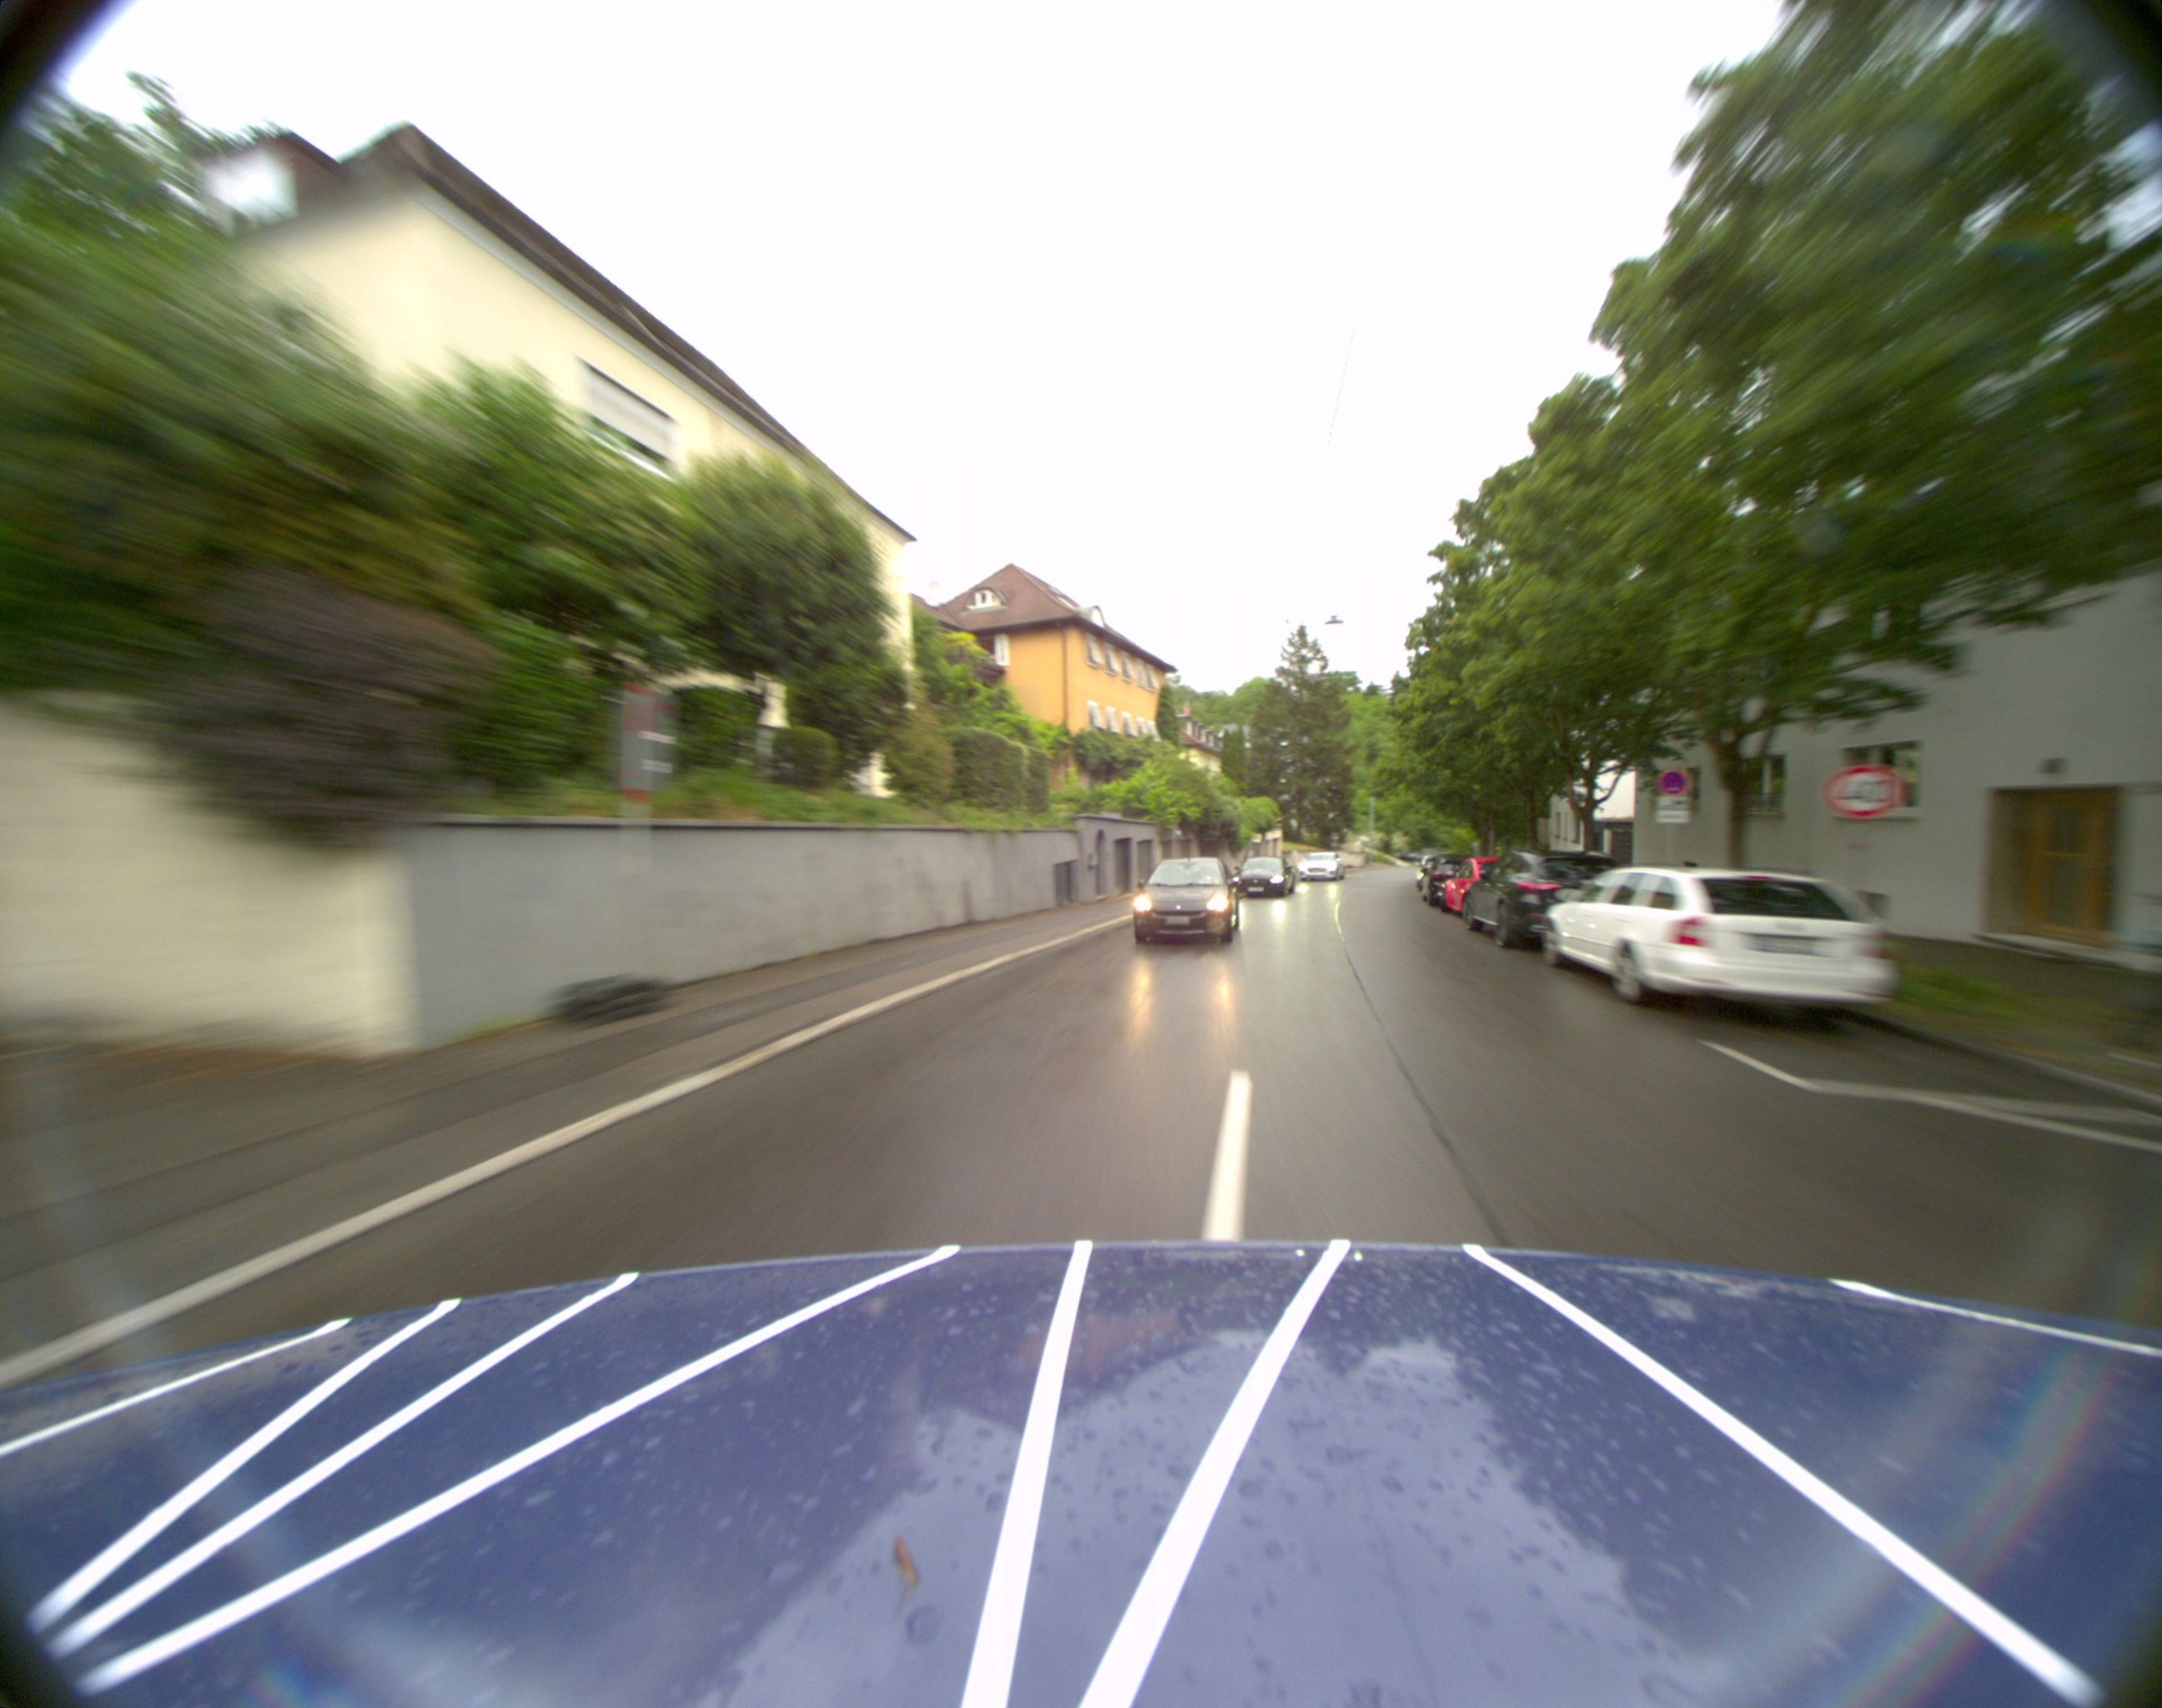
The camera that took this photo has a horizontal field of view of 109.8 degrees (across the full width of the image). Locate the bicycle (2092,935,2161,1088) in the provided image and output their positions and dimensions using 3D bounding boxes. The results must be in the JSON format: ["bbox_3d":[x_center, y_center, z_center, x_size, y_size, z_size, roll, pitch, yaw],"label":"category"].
[{"bbox_3d":[7.809,1.162,5.116,0.435,1.024,1.909,0,1,28],"label":"bicycle"}]

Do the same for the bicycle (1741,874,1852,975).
[{"bbox_3d":[10.106,0.938,10.809,0.619,1.244,1.909,0,1,26],"label":"bicycle"}]

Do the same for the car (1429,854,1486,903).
[{"bbox_3d":[13.427,0.817,27.244,1.556,1.502,3.389,4,3,23],"label":"car"}]

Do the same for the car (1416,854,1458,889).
[{"bbox_3d":[16.689,0.782,35.587,1.575,1.480,3.476,4,2,26],"label":"car"}]

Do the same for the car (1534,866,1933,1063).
[{"bbox_3d":[6.779,0.955,8.602,1.684,1.500,4.321,2,1,15],"label":"car"}]

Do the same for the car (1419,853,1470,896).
[{"bbox_3d":[15.108,0.774,31.629,1.665,1.480,4.482,4,3,25],"label":"car"}]

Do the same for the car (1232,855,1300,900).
[{"bbox_3d":[6.822,0.817,27.685,1.804,1.479,4.023,-2,-1,22],"label":"car"}]

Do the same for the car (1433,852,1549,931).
[{"bbox_3d":[10.092,0.834,18.989,1.634,1.556,3.852,4,3,15],"label":"car"}]

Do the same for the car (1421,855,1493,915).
[{"bbox_3d":[11.290,0.850,23.024,1.556,1.480,4.103,4,3,22],"label":"car"}]

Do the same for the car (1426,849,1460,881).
[{"bbox_3d":[21.817,0.630,45.757,1.618,1.649,3.930,5,3,27],"label":"car"}]

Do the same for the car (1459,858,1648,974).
[{"bbox_3d":[8.030,0.911,13.411,1.683,1.599,4.582,2,1,17],"label":"car"}]

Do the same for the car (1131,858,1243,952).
[{"bbox_3d":[2.079,0.833,14.081,1.576,1.444,3.591,-1,1,16],"label":"car"}]

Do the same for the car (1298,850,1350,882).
[{"bbox_3d":[13.974,0.648,43.570,2.008,1.652,4.454,2,1,28],"label":"car"}]
